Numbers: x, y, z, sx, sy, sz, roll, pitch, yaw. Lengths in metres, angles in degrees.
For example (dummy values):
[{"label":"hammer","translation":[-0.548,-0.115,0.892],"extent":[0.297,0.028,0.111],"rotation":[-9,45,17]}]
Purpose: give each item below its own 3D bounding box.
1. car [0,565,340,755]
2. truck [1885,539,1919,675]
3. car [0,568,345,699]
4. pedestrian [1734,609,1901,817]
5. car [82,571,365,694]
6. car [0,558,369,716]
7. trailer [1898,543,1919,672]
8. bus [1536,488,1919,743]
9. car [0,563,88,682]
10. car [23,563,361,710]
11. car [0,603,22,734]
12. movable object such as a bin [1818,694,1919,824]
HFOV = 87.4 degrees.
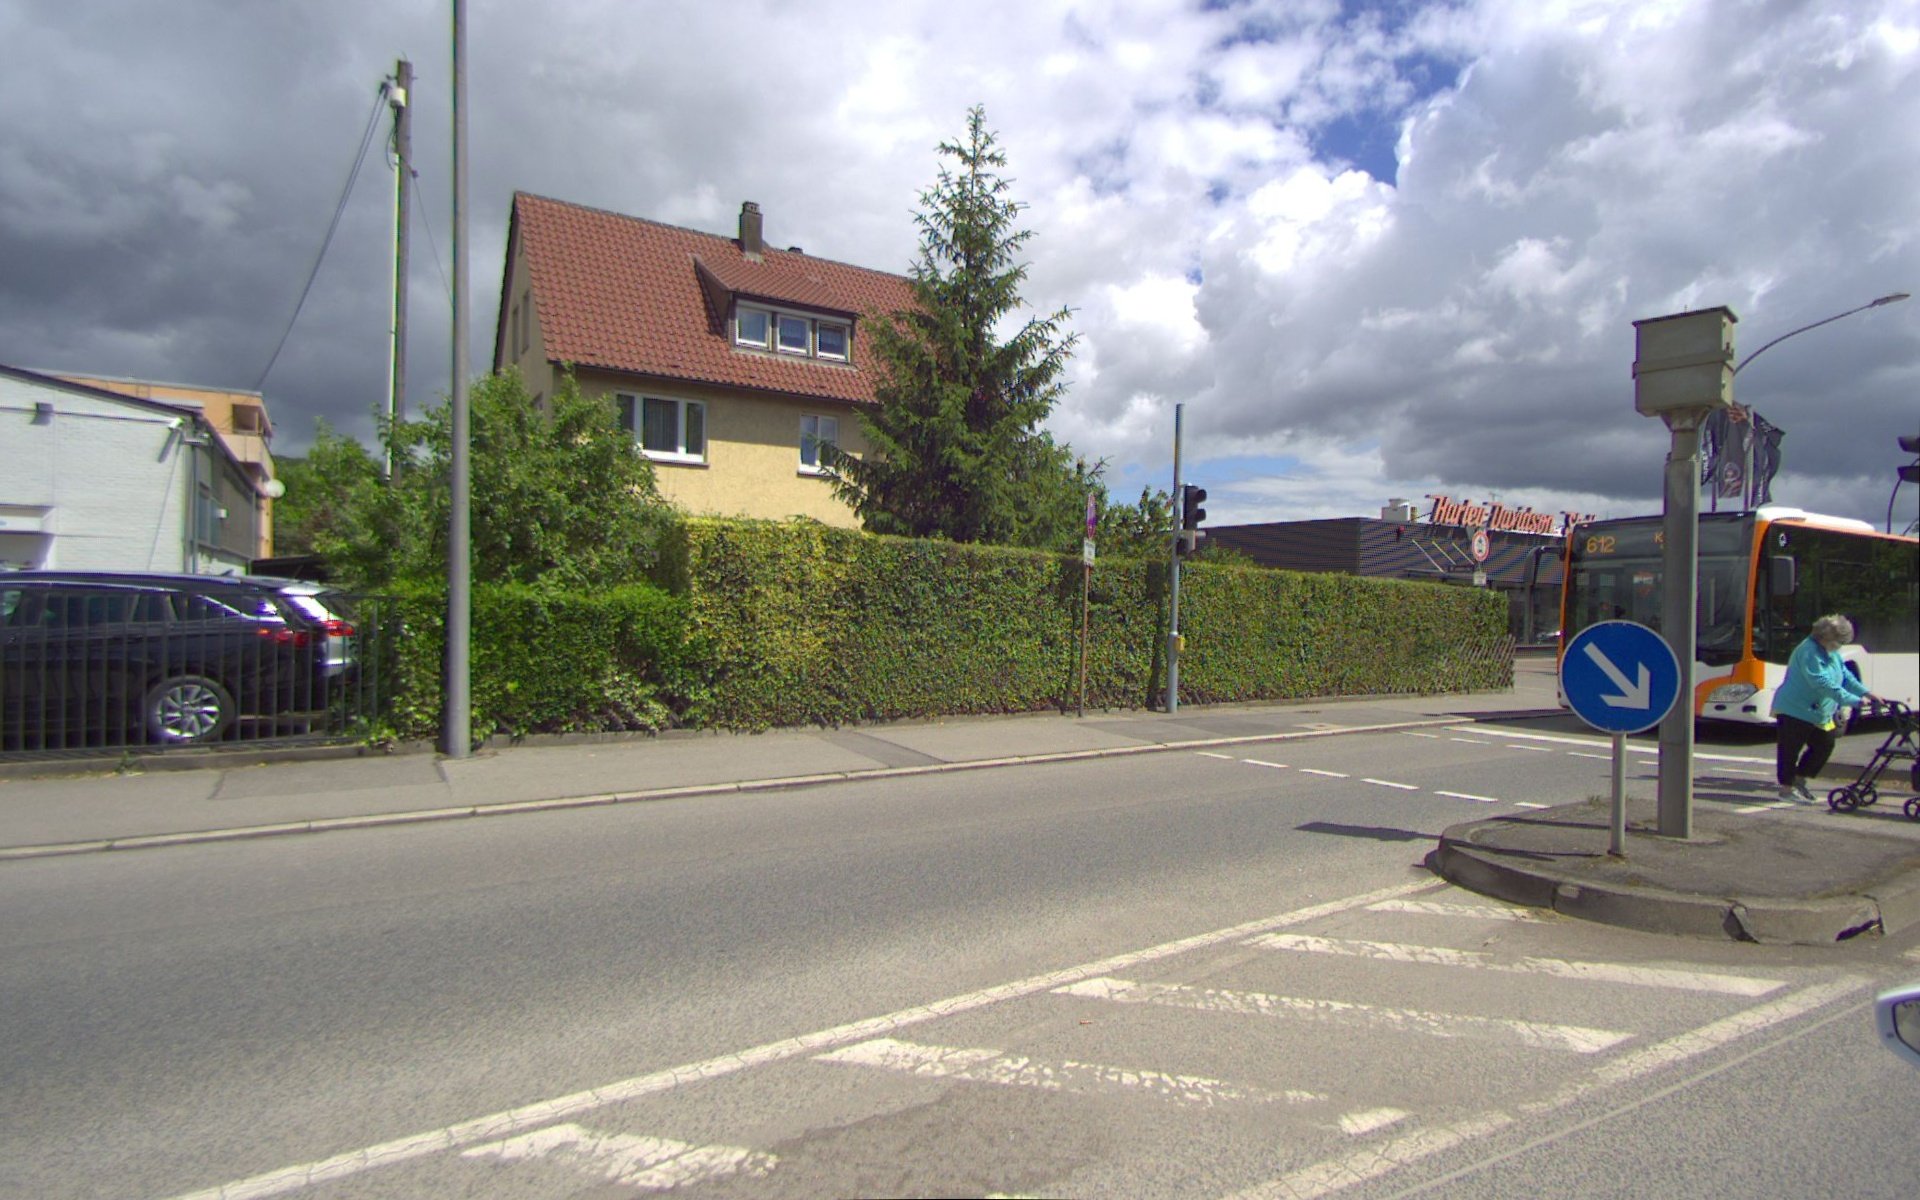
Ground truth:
[{"label":"car","translation":[-7.857,0.472,8.856],"extent":[3.997,1.502,1.850],"rotation":[2,0,-31]},{"label":"truck","translation":[31.696,0.303,31.729],"extent":[6.448,4.107,2.775],"rotation":[2,0,-40]},{"label":"car","translation":[-10.725,0.428,13.632],"extent":[3.953,1.569,1.984],"rotation":[2,0,-30]},{"label":"pedestrian","translation":[6.946,0.868,8.154],"extent":[0.726,1.564,0.833],"rotation":[2,0,-33]},{"label":"car","translation":[-13.324,0.580,18.528],"extent":[3.953,2.040,1.984],"rotation":[2,0,-30]},{"label":"car","translation":[-9.017,0.389,11.360],"extent":[3.953,1.561,1.984],"rotation":[2,0,-30]},{"label":"trailer","translation":[36.928,0.452,36.151],"extent":[15.429,4.107,2.775],"rotation":[2,0,-40]},{"label":"bus","translation":[14.178,0.365,16.362],"extent":[12.123,3.071,2.706],"rotation":[2,-1,-31]},{"label":"car","translation":[-17.988,0.339,17.424],"extent":[3.953,2.040,1.984],"rotation":[2,0,-30]},{"label":"car","translation":[-11.828,0.554,15.885],"extent":[3.953,2.040,1.984],"rotation":[2,0,-30]},{"label":"car","translation":[-16.711,1.033,14.700],"extent":[3.953,2.040,1.984],"rotation":[2,0,-30]},{"label":"movable object such as a bin","translation":[7.204,1.204,7.733],"extent":[0.663,0.883,0.742],"rotation":[2,0,-33]}]
